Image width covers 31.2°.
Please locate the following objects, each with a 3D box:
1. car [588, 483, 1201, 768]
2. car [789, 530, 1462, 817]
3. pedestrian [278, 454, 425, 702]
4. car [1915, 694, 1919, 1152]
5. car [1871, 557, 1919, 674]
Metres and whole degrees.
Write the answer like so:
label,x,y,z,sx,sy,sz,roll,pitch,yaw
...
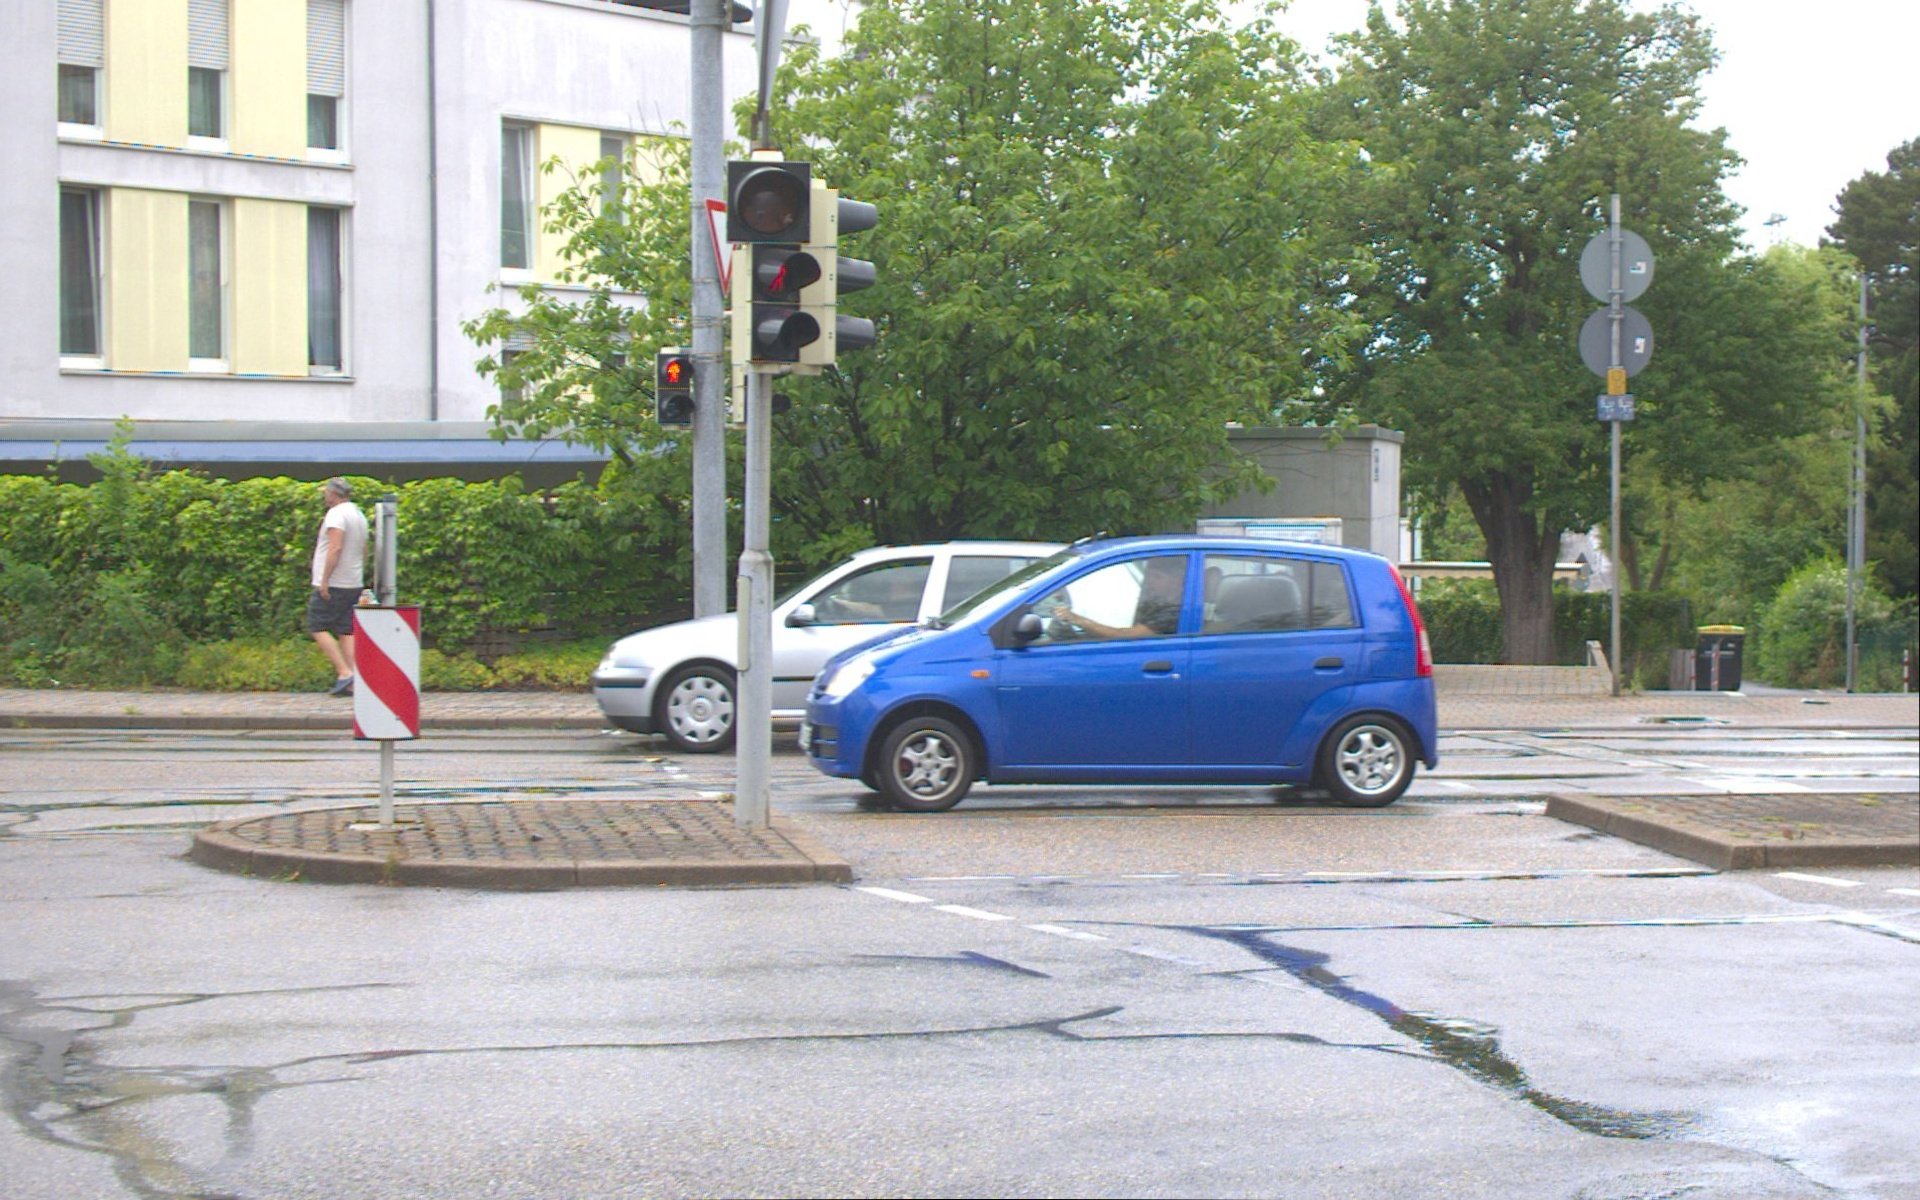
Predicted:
label,x,y,z,sx,sy,sz,roll,pitch,yaw
car,-0.451,0.137,23.675,3.987,1.664,2.001,2,4,-1
car,0.841,0.371,18.678,3.428,1.451,1.525,0,2,-7
pedestrian,-5.032,-0.197,28.469,0.800,2.006,0.848,0,2,31
car,4.733,0.570,9.672,4.253,1.716,1.926,-1,2,-42
car,21.448,0.414,68.177,6.001,2.193,2.853,2,2,4
